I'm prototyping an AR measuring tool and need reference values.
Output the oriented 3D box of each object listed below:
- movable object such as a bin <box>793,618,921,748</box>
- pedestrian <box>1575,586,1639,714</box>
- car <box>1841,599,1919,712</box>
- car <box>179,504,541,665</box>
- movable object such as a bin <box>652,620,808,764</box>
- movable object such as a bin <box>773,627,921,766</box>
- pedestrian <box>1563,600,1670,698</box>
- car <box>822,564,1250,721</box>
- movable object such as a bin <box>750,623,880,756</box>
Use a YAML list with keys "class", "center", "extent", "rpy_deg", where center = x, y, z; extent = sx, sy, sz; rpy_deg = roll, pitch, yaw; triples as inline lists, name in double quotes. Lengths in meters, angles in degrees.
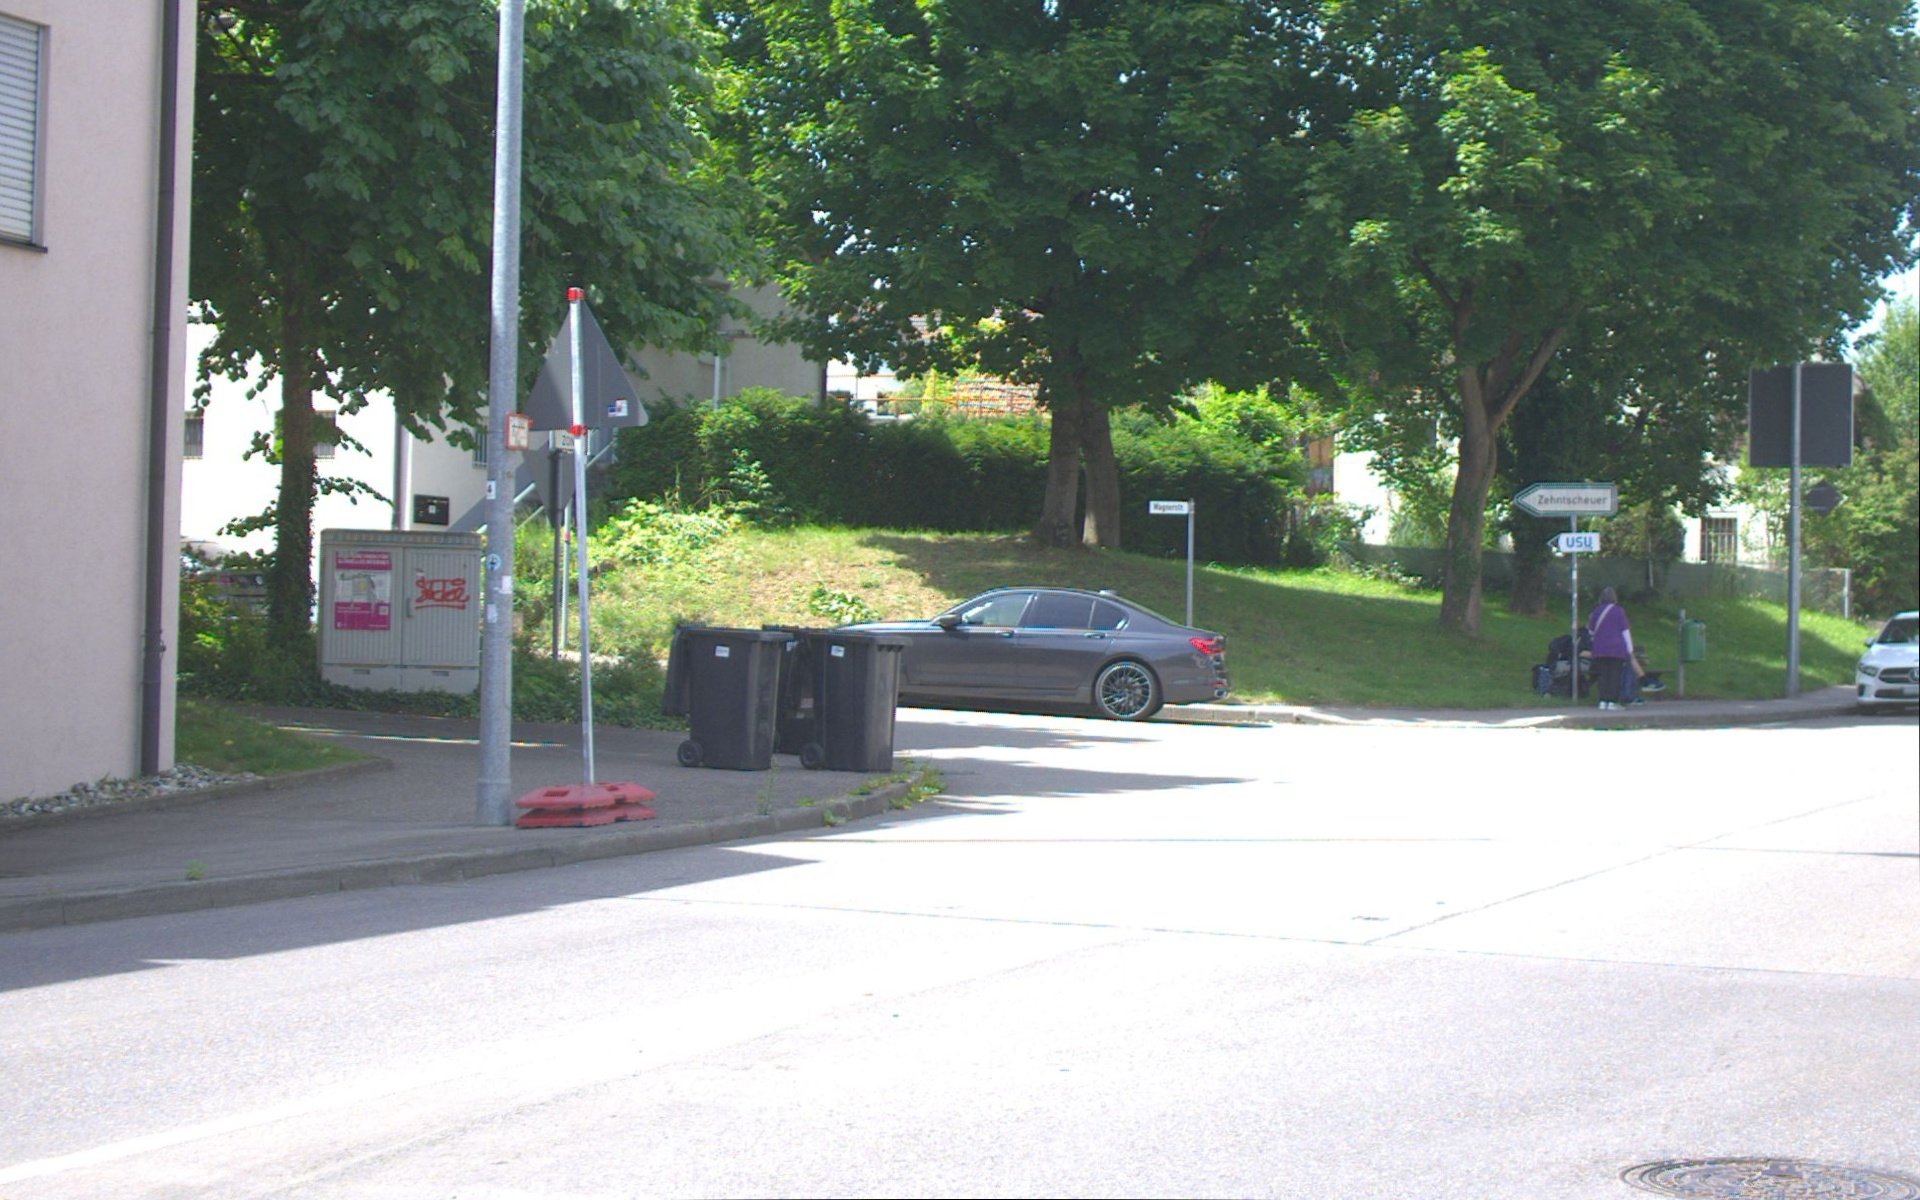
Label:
- class: "movable object such as a bin"
  center: [-0.845, 0.681, 28.270]
  extent: [0.773, 0.997, 0.608]
  rpy_deg: [5, 0, 28]
- class: "pedestrian"
  center: [8.333, 0.642, 44.295]
  extent: [0.730, 1.611, 0.629]
  rpy_deg: [1, 0, 8]
- class: "car"
  center: [13.379, 0.715, 47.197]
  extent: [1.757, 1.462, 4.357]
  rpy_deg: [-2, 0, 24]
- class: "car"
  center: [-7.417, -0.198, 42.467]
  extent: [3.994, 1.678, 1.906]
  rpy_deg: [5, 1, 28]
- class: "movable object such as a bin"
  center: [-1.675, 0.664, 25.133]
  extent: [0.801, 0.997, 0.803]
  rpy_deg: [3, 1, 27]
- class: "movable object such as a bin"
  center: [-0.836, 0.706, 25.520]
  extent: [0.852, 0.997, 0.693]
  rpy_deg: [1, 0, 27]
- class: "pedestrian"
  center: [8.792, 0.653, 46.053]
  extent: [1.238, 1.265, 0.645]
  rpy_deg: [2, 0, 28]
- class: "car"
  center: [0.940, 0.479, 40.216]
  extent: [4.776, 1.474, 1.999]
  rpy_deg: [4, 0, 6]
- class: "movable object such as a bin"
  center: [-1.162, 0.721, 27.607]
  extent: [0.773, 0.997, 0.608]
  rpy_deg: [5, 0, 27]
